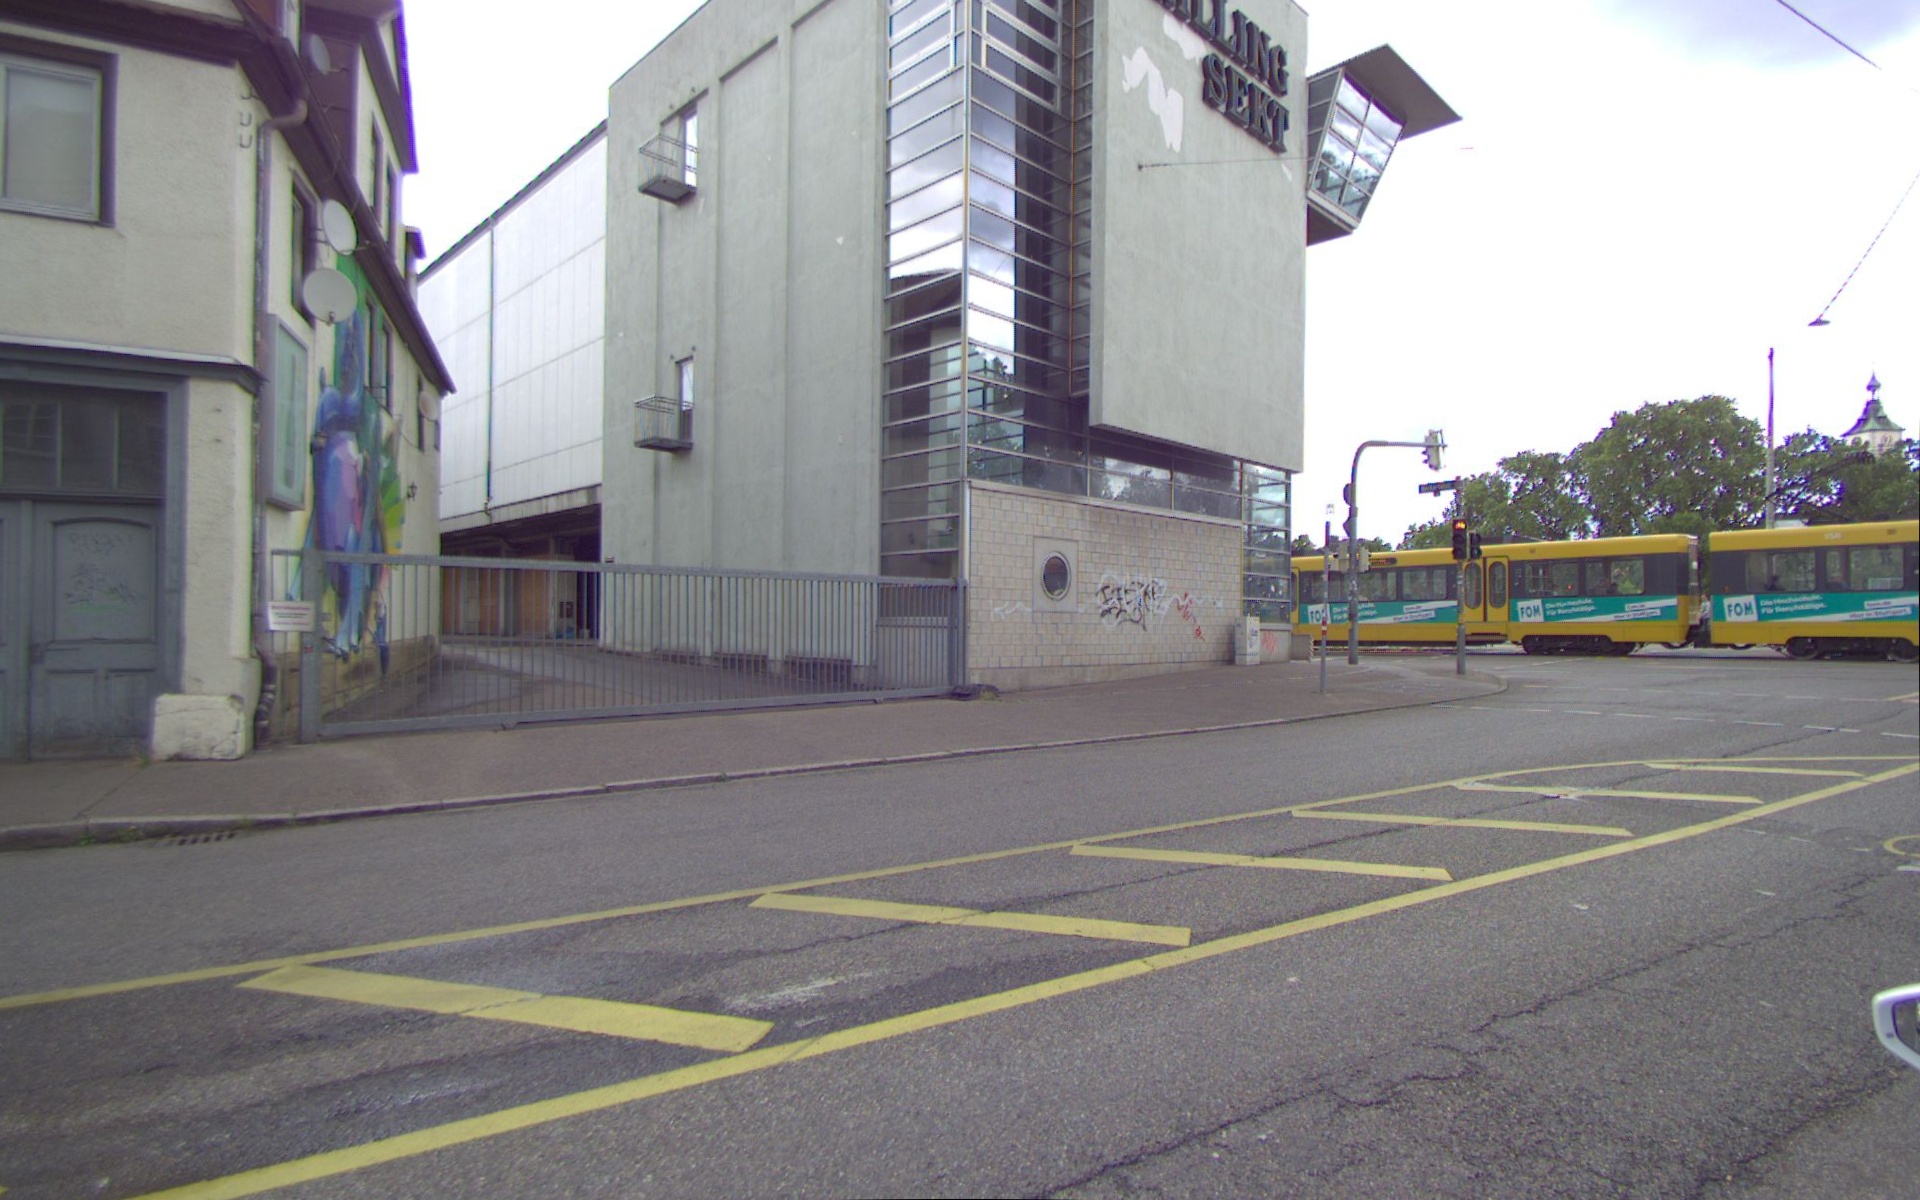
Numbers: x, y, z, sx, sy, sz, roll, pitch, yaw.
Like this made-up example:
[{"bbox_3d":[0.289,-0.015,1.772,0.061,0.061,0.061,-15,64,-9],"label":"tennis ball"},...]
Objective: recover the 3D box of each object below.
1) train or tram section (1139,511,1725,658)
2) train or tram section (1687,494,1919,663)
[{"bbox_3d":[15.126,-0.160,35.825,3.285,4.056,19.049,-2,-1,-42],"label":"train or tram section"},{"bbox_3d":[27.130,-0.688,21.457,3.235,4.056,18.631,-2,0,-38],"label":"train or tram section"}]
